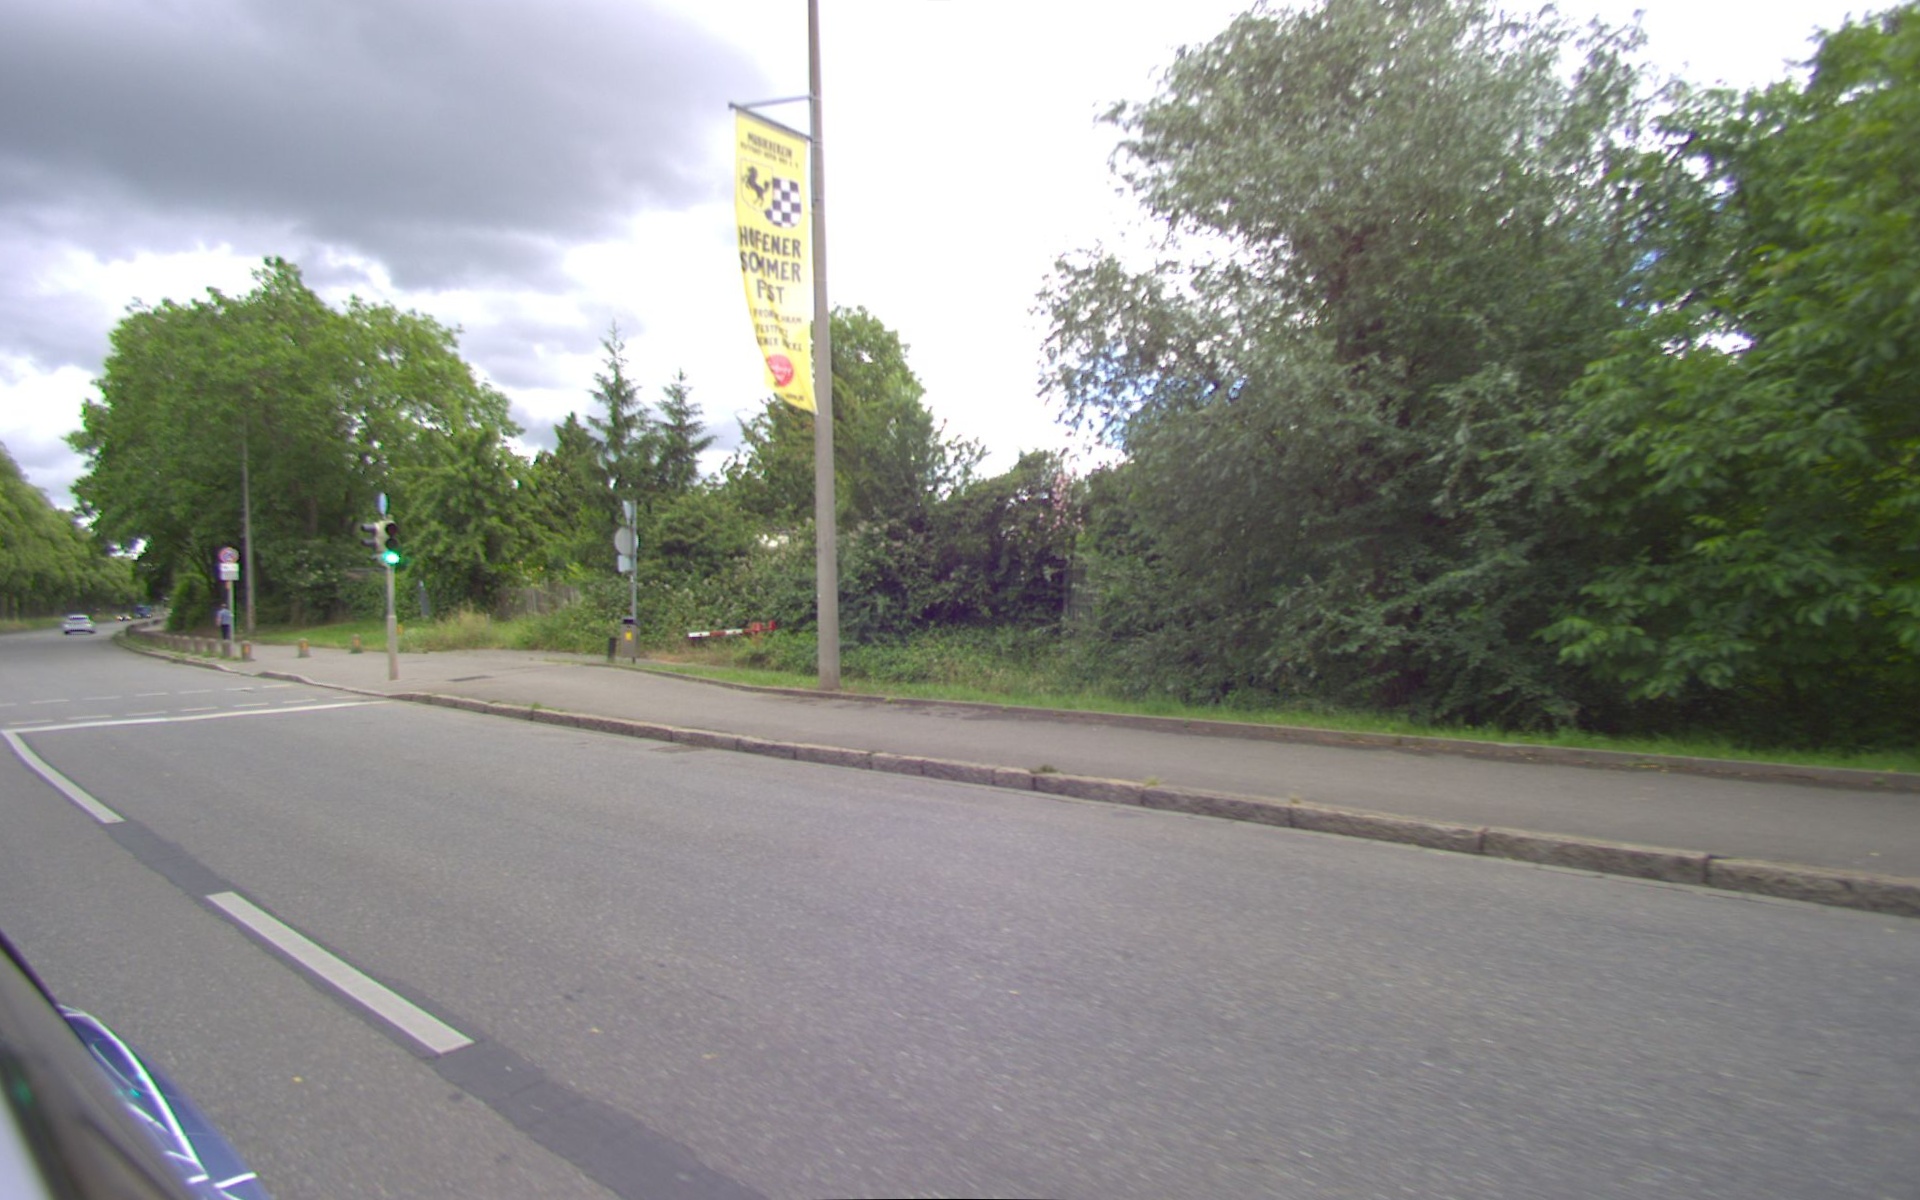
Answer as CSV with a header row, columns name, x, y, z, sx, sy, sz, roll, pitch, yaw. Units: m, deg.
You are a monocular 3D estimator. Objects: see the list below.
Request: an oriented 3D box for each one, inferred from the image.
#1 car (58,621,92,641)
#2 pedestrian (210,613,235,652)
name,x,y,z,sx,sy,sz,roll,pitch,yaw
car,-69.620,2.420,79.589,1.752,1.450,4.364,0,-1,-44
pedestrian,-31.657,1.389,43.429,0.681,1.646,0.839,-4,2,-43
